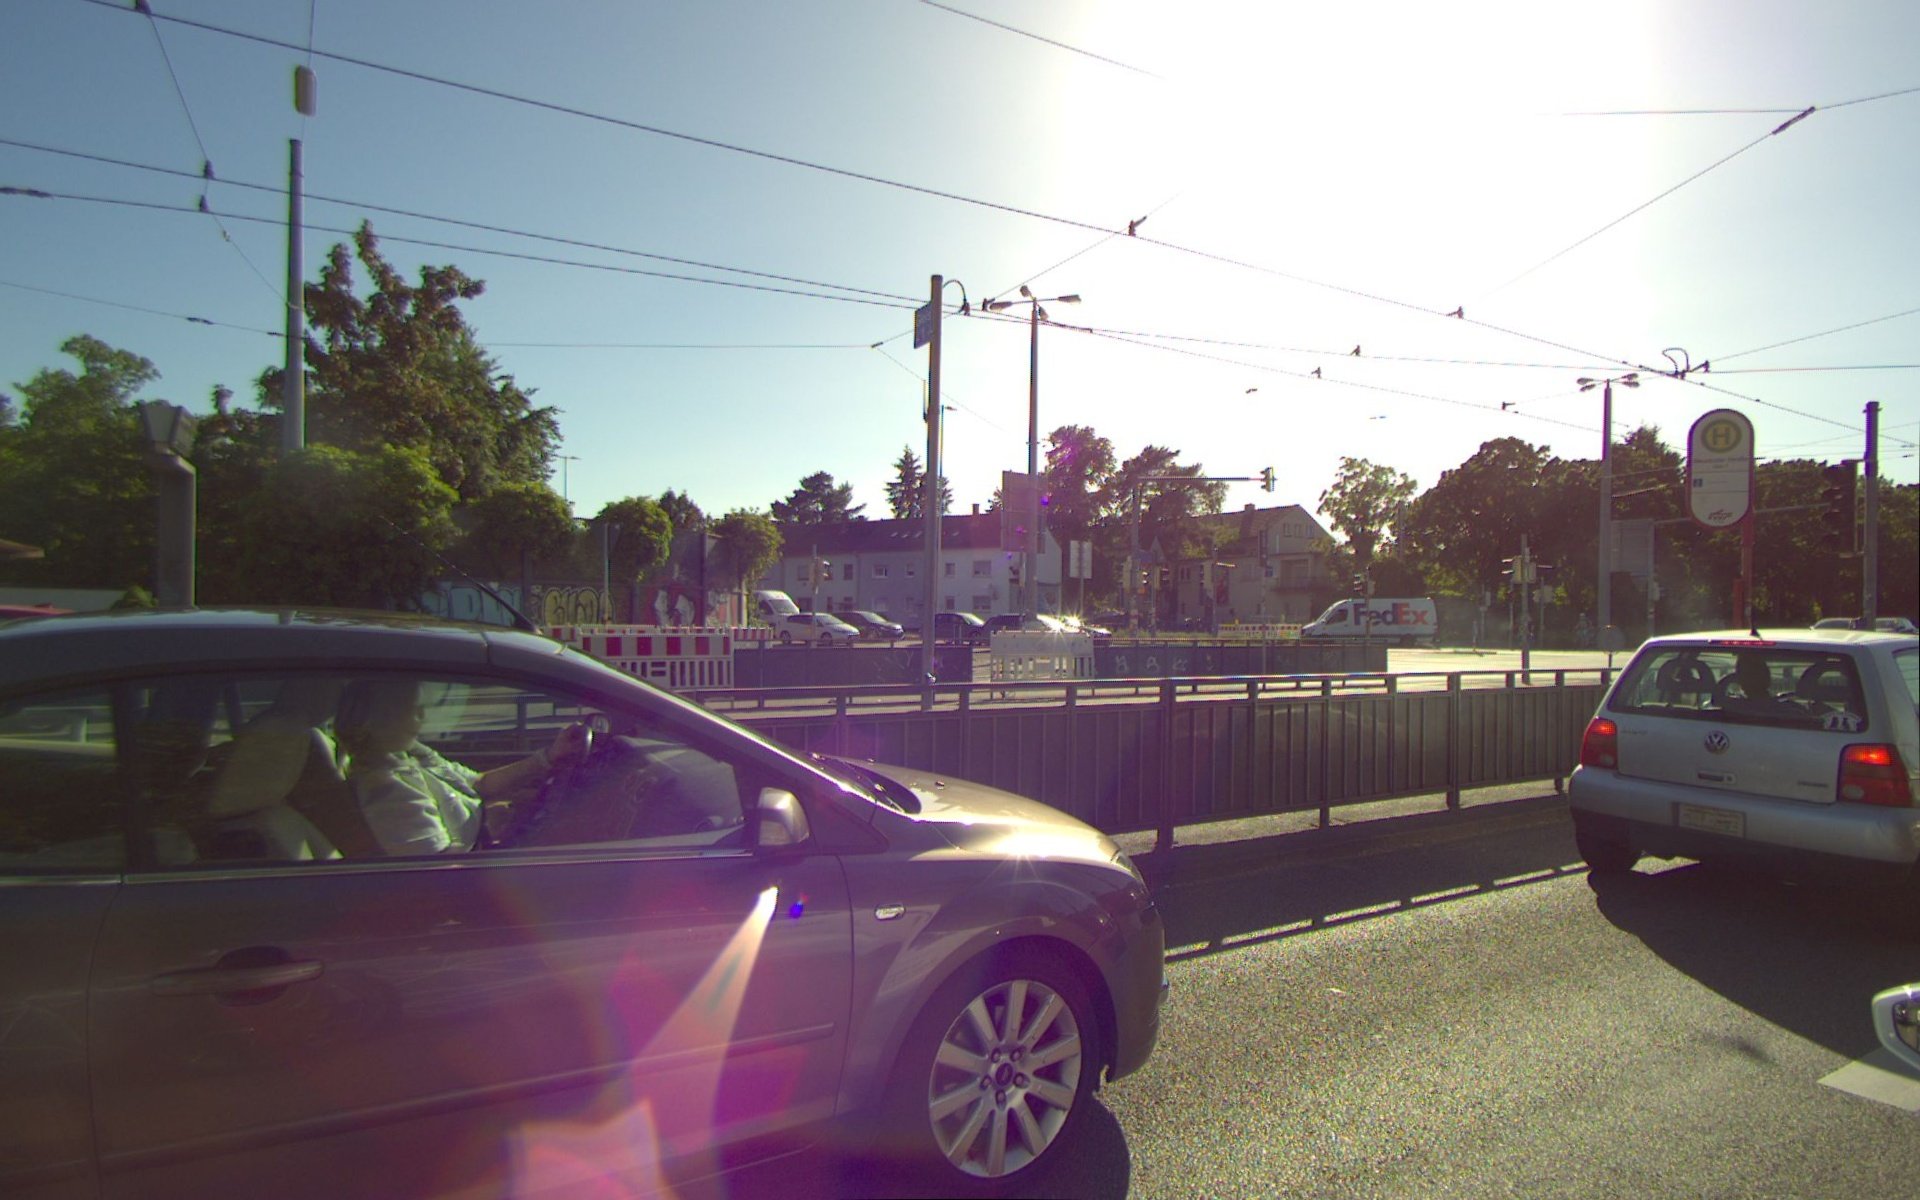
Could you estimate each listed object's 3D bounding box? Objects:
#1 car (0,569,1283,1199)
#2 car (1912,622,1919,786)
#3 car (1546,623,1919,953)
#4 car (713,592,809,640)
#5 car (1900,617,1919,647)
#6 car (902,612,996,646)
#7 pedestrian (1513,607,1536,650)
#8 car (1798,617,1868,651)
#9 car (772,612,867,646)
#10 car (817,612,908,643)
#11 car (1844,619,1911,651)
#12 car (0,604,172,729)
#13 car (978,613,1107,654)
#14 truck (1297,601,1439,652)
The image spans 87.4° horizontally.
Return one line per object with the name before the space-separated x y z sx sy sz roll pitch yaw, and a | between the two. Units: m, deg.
car | -1.348 0.708 2.550 4.284 1.469 1.766 1 -1 -31
car | 10.773 0.995 9.442 4.038 1.476 1.611 2 0 -31
car | 5.201 0.882 5.955 3.312 1.436 1.611 2 -2 -31
car | -10.614 0.828 53.450 4.995 2.434 2.132 0 -1 34
car | 54.271 1.791 56.050 4.712 1.626 1.978 1 1 -38
car | -0.527 1.309 45.804 4.104 1.451 1.589 0 -1 34
pedestrian | 26.843 1.348 47.763 0.785 2.040 0.741 1 -1 -42
car | 42.429 1.648 48.794 3.963 1.568 1.819 1 -1 -37
car | -6.387 1.283 45.593 4.104 1.451 1.846 0 -1 34
car | -4.768 1.320 48.888 4.212 1.451 1.788 0 -1 34
car | 47.313 1.773 51.783 4.245 1.568 1.819 1 -1 -37
car | -11.859 0.751 11.748 3.971 1.421 1.596 1 0 -32
car | 3.172 1.274 39.203 4.754 1.517 1.781 0 -1 34
truck | 21.616 1.375 53.410 6.685 2.599 2.001 1 -1 5
